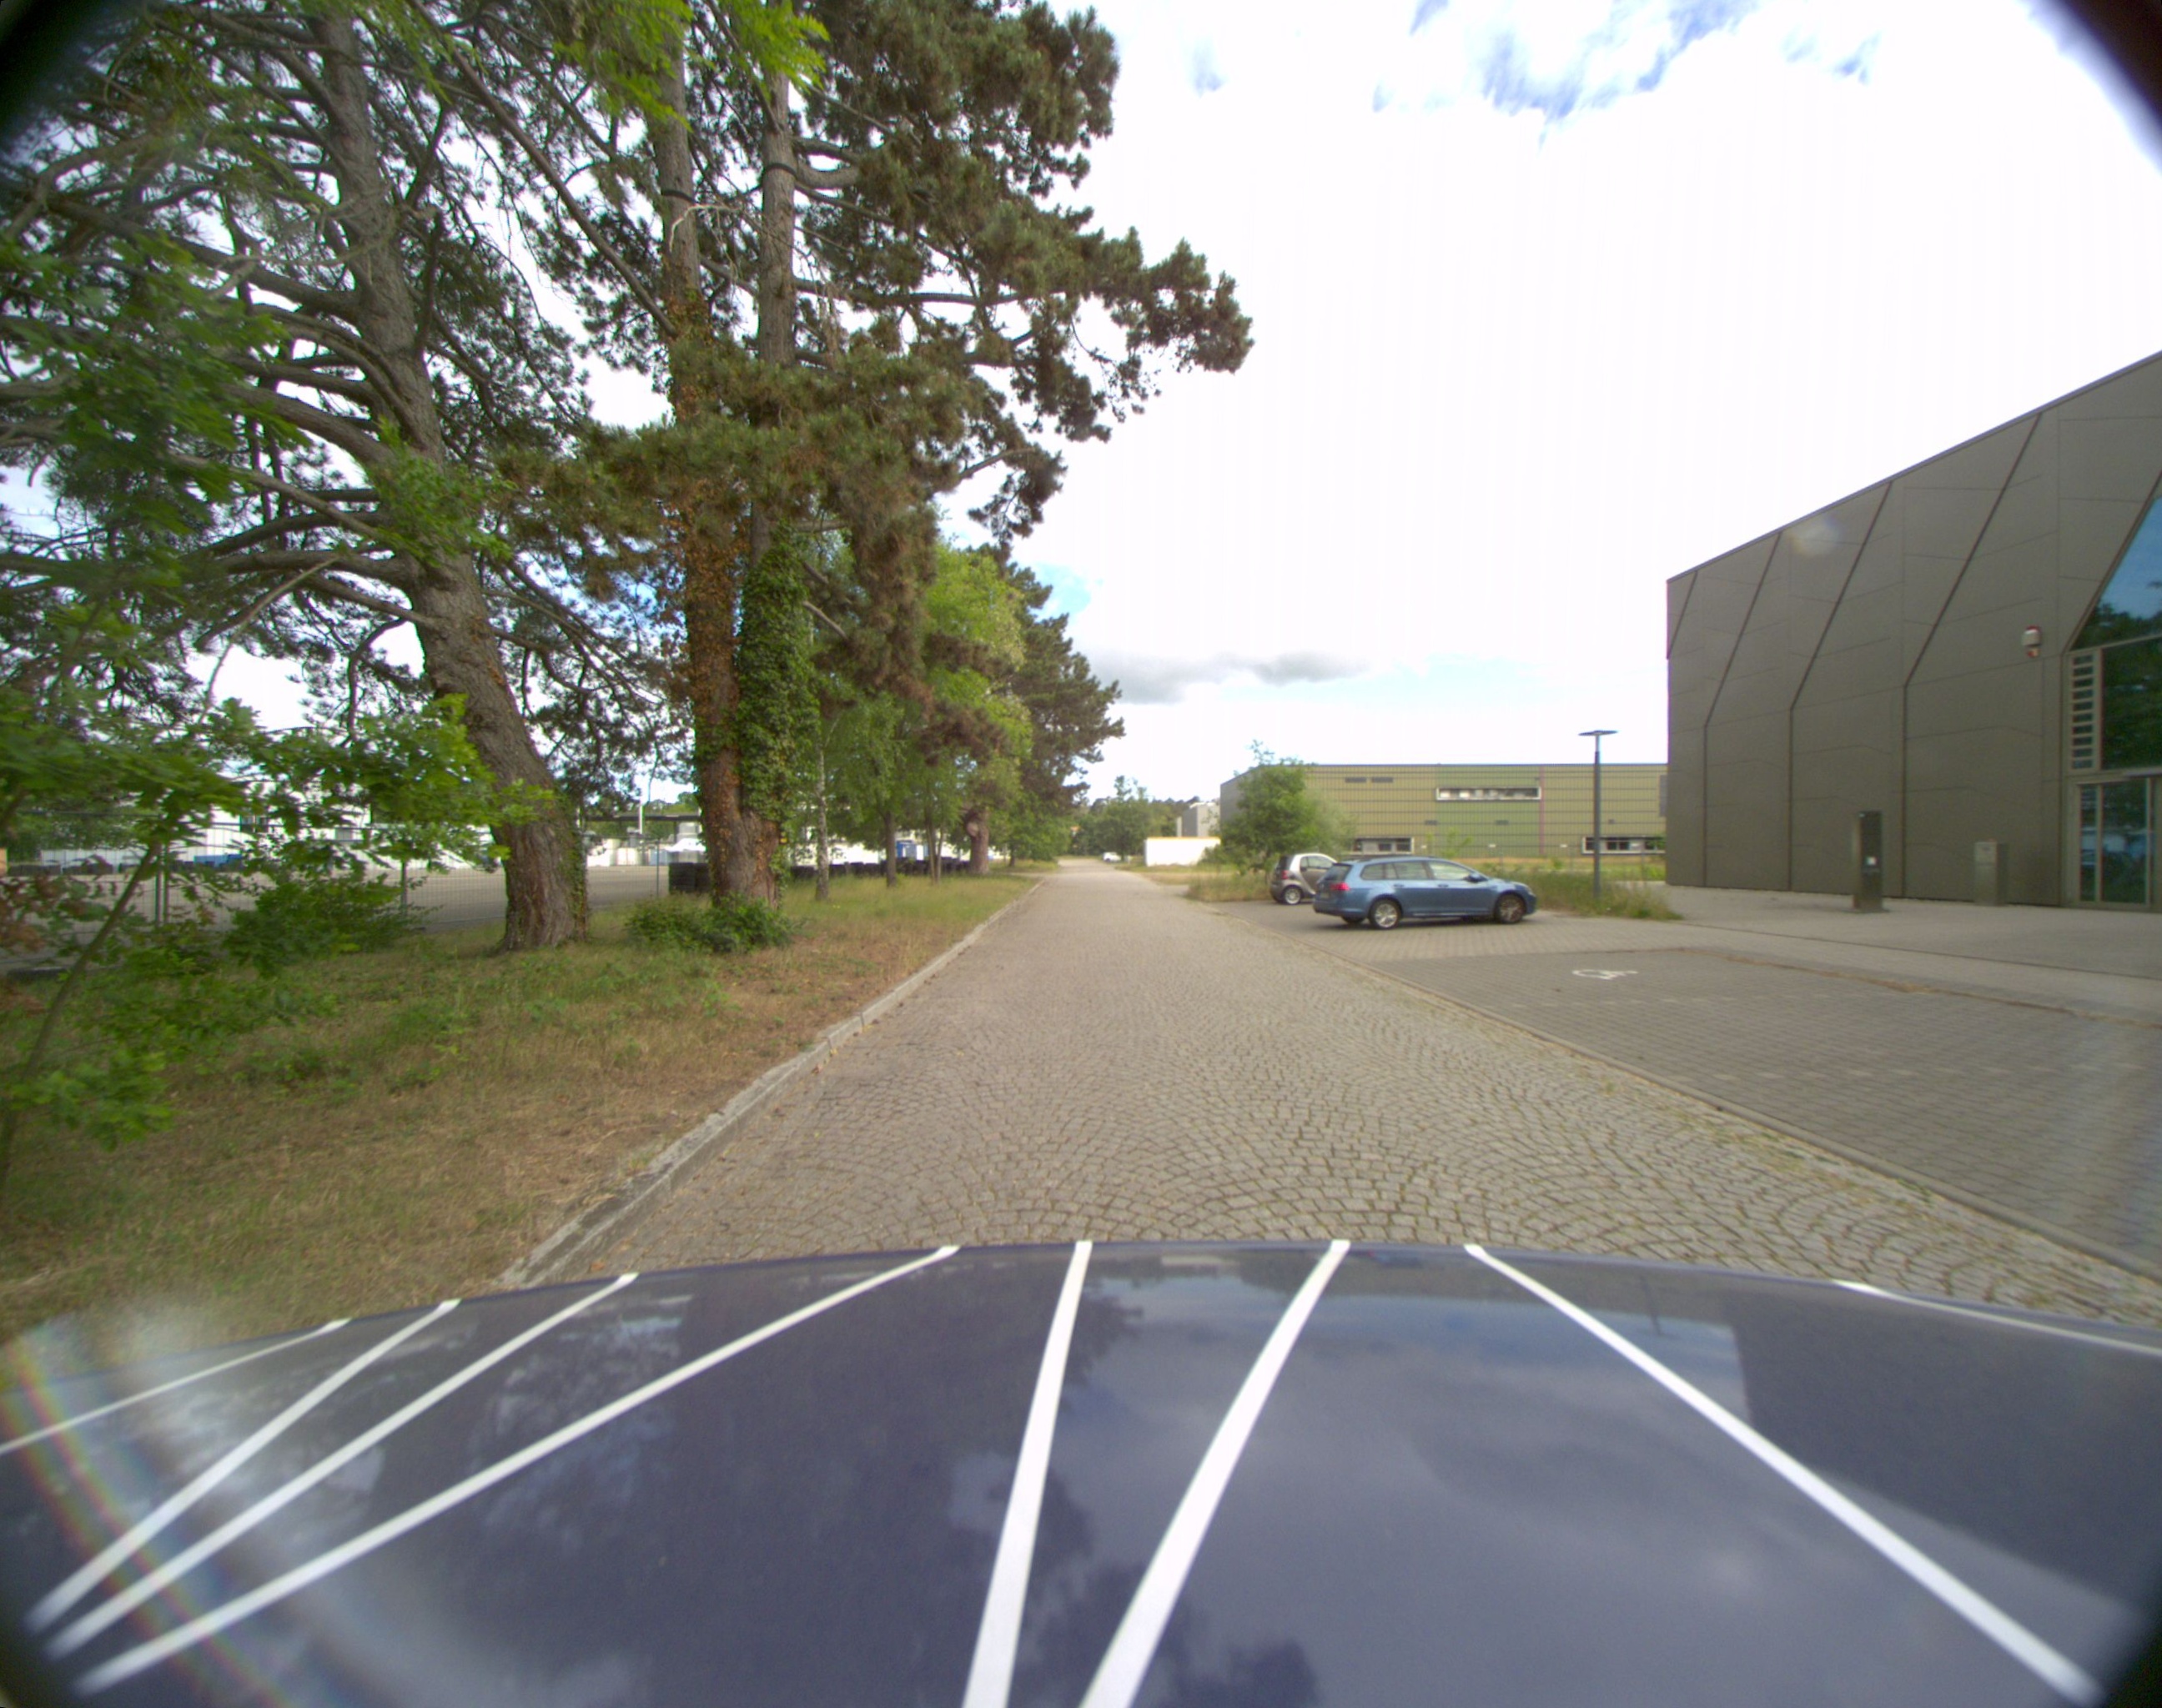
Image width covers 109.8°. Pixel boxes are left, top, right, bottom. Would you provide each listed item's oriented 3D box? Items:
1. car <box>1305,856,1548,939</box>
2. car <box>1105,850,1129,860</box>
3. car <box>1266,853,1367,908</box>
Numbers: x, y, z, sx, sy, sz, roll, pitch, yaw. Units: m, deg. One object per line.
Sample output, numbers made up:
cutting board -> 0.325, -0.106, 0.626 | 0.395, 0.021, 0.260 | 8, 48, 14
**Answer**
car -> 7.241, 0.876, 16.161 | 4.427, 1.461, 1.633 | -2, 1, -2
car -> 6.422, 0.205, 135.954 | 4.062, 1.768, 1.792 | -1, 1, -1
car -> 7.246, 0.796, 23.530 | 2.584, 1.521, 1.500 | -2, 1, -2
